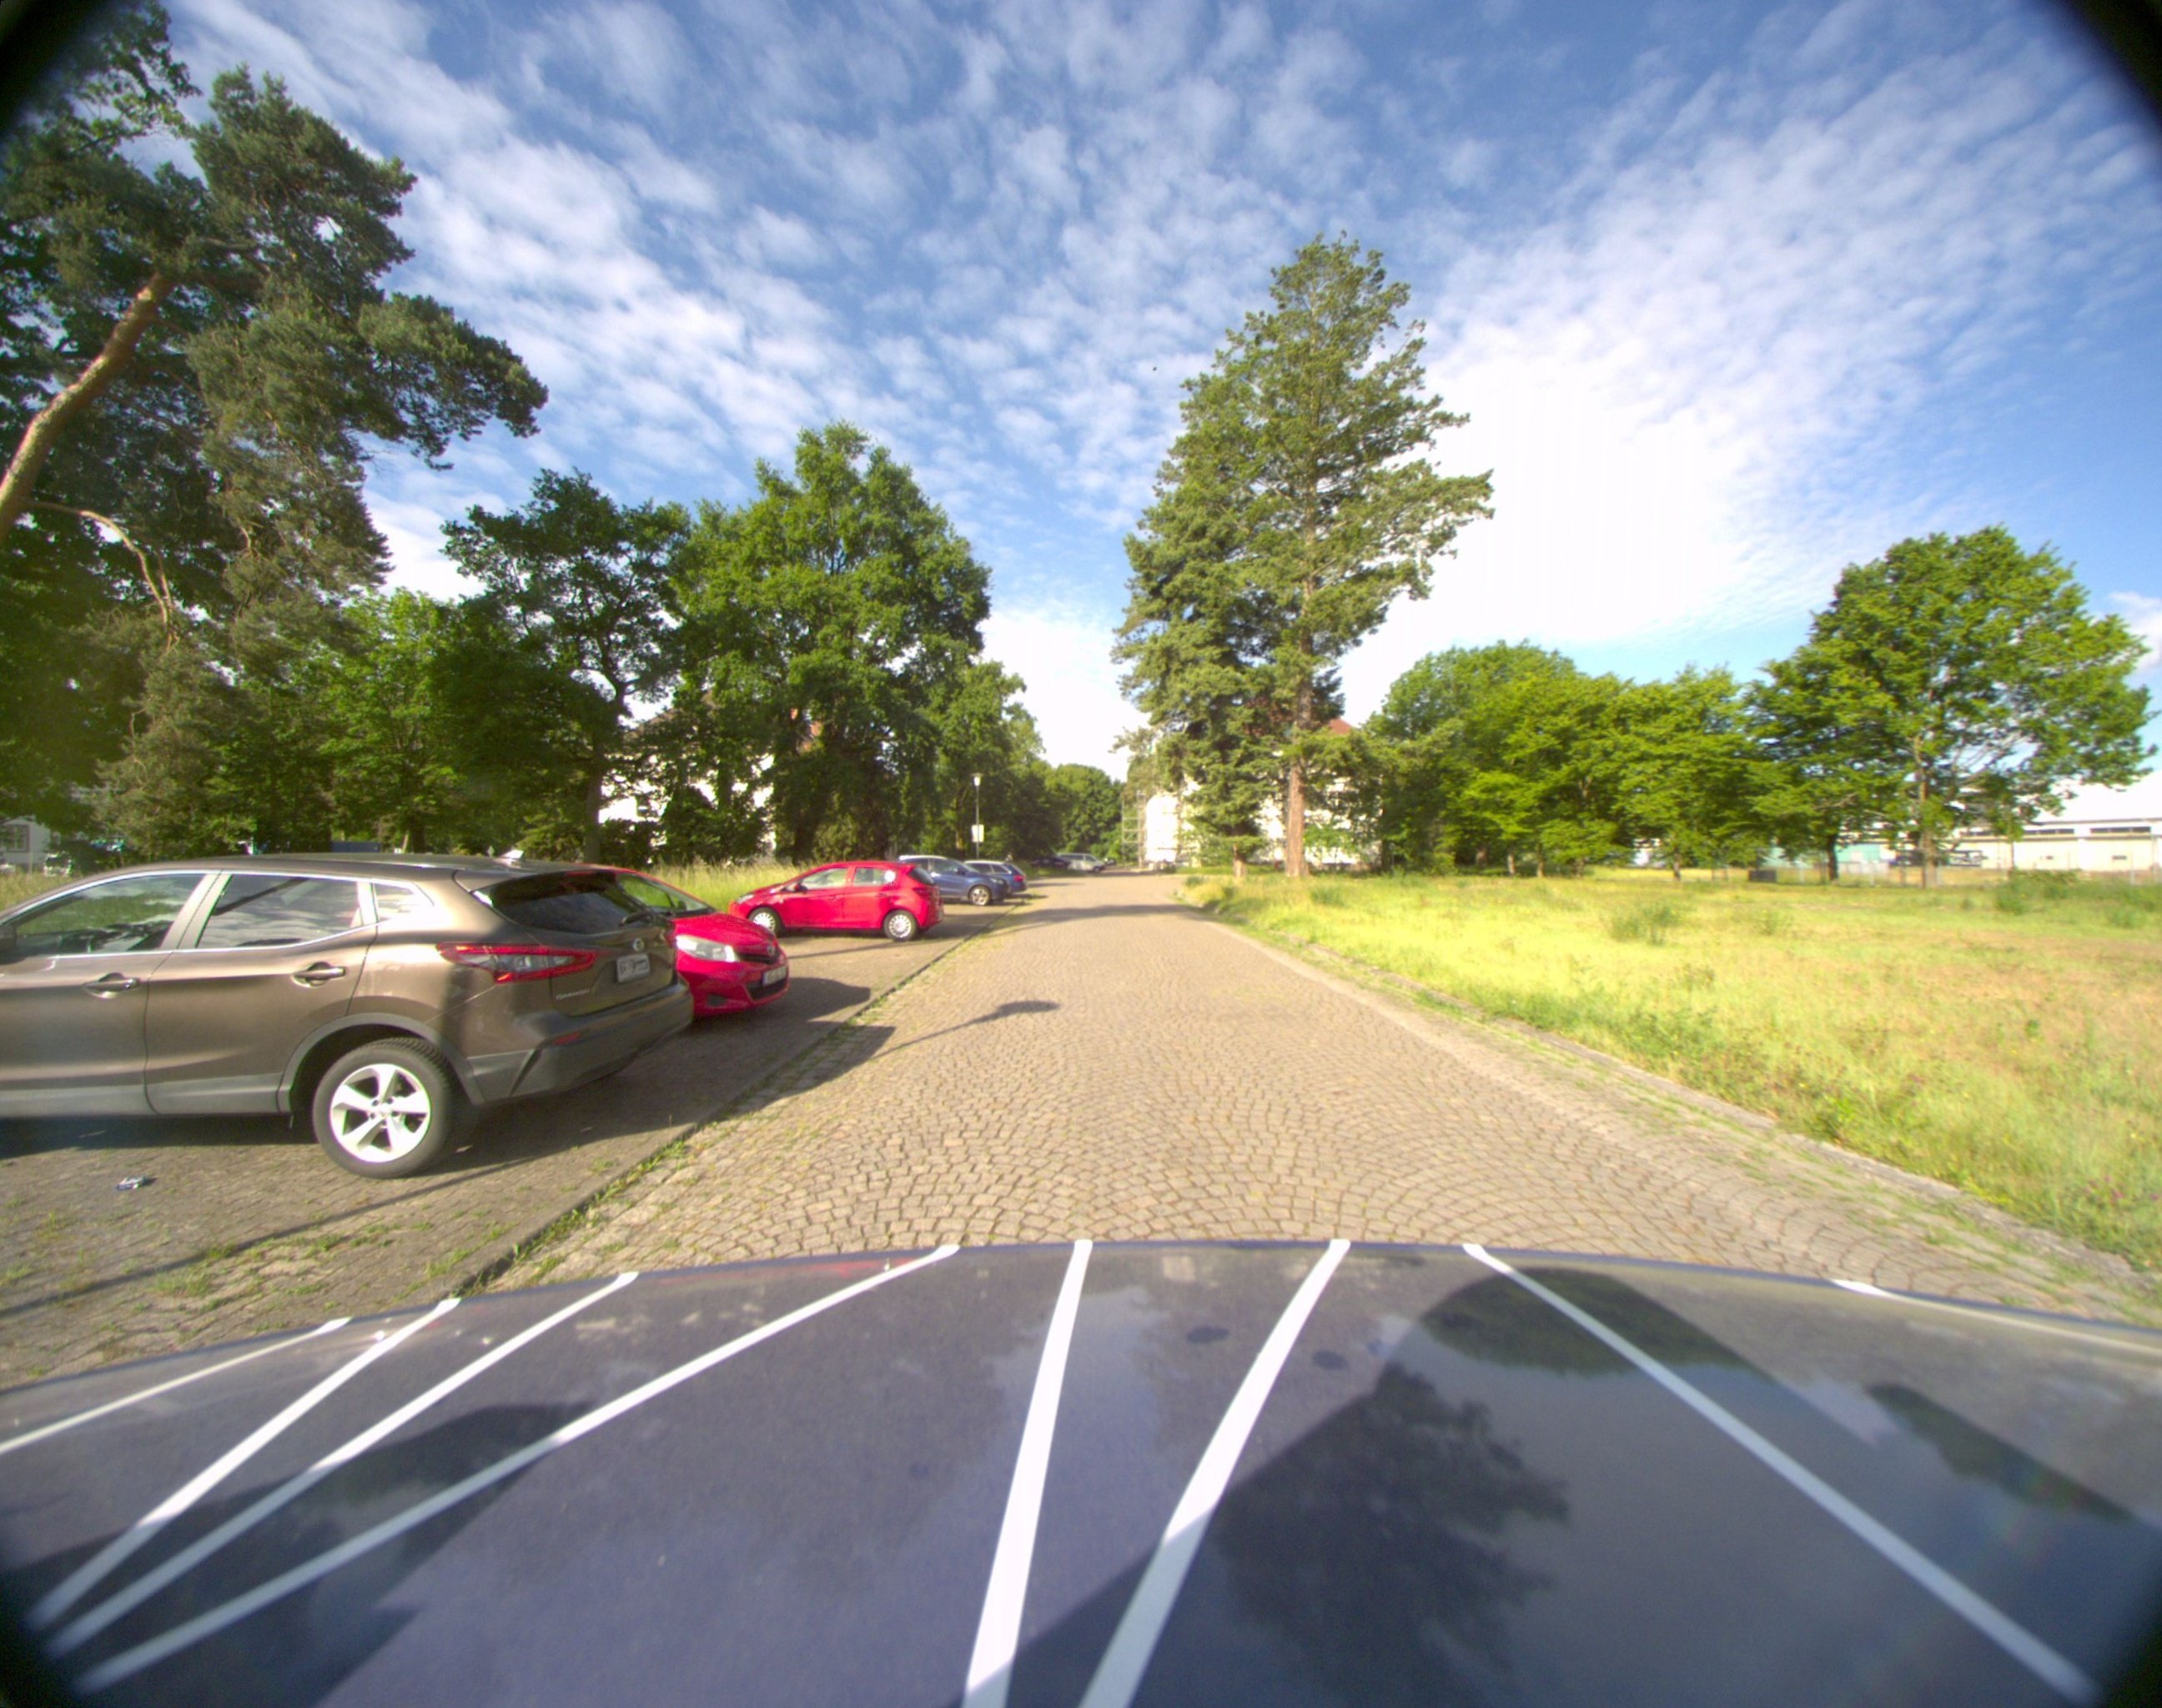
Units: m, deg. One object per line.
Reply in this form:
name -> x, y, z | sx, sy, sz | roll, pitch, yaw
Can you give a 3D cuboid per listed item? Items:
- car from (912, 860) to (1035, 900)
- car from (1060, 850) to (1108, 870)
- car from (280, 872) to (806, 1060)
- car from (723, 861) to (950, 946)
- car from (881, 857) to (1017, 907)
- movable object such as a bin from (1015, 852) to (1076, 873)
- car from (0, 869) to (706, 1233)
car -> -4.148, 0.983, 29.770 | 4.459, 1.399, 1.714 | 1, 0, 3
car -> 0.337, 0.641, 78.526 | 4.936, 2.002, 2.000 | 0, 0, 1
car -> -4.776, 0.952, 7.137 | 3.772, 1.521, 1.645 | 0, 0, 1
car -> -4.622, 0.911, 14.742 | 3.837, 1.470, 1.645 | 1, 0, -1
car -> -4.265, 0.903, 25.030 | 4.187, 1.581, 1.751 | 0, 0, 0
movable object such as a bin -> -3.050, 0.740, 65.577 | 4.931, 1.749, 2.002 | 0, 0, 15
car -> -4.554, 0.908, 4.322 | 3.946, 1.612, 1.772 | 0, 0, -1
